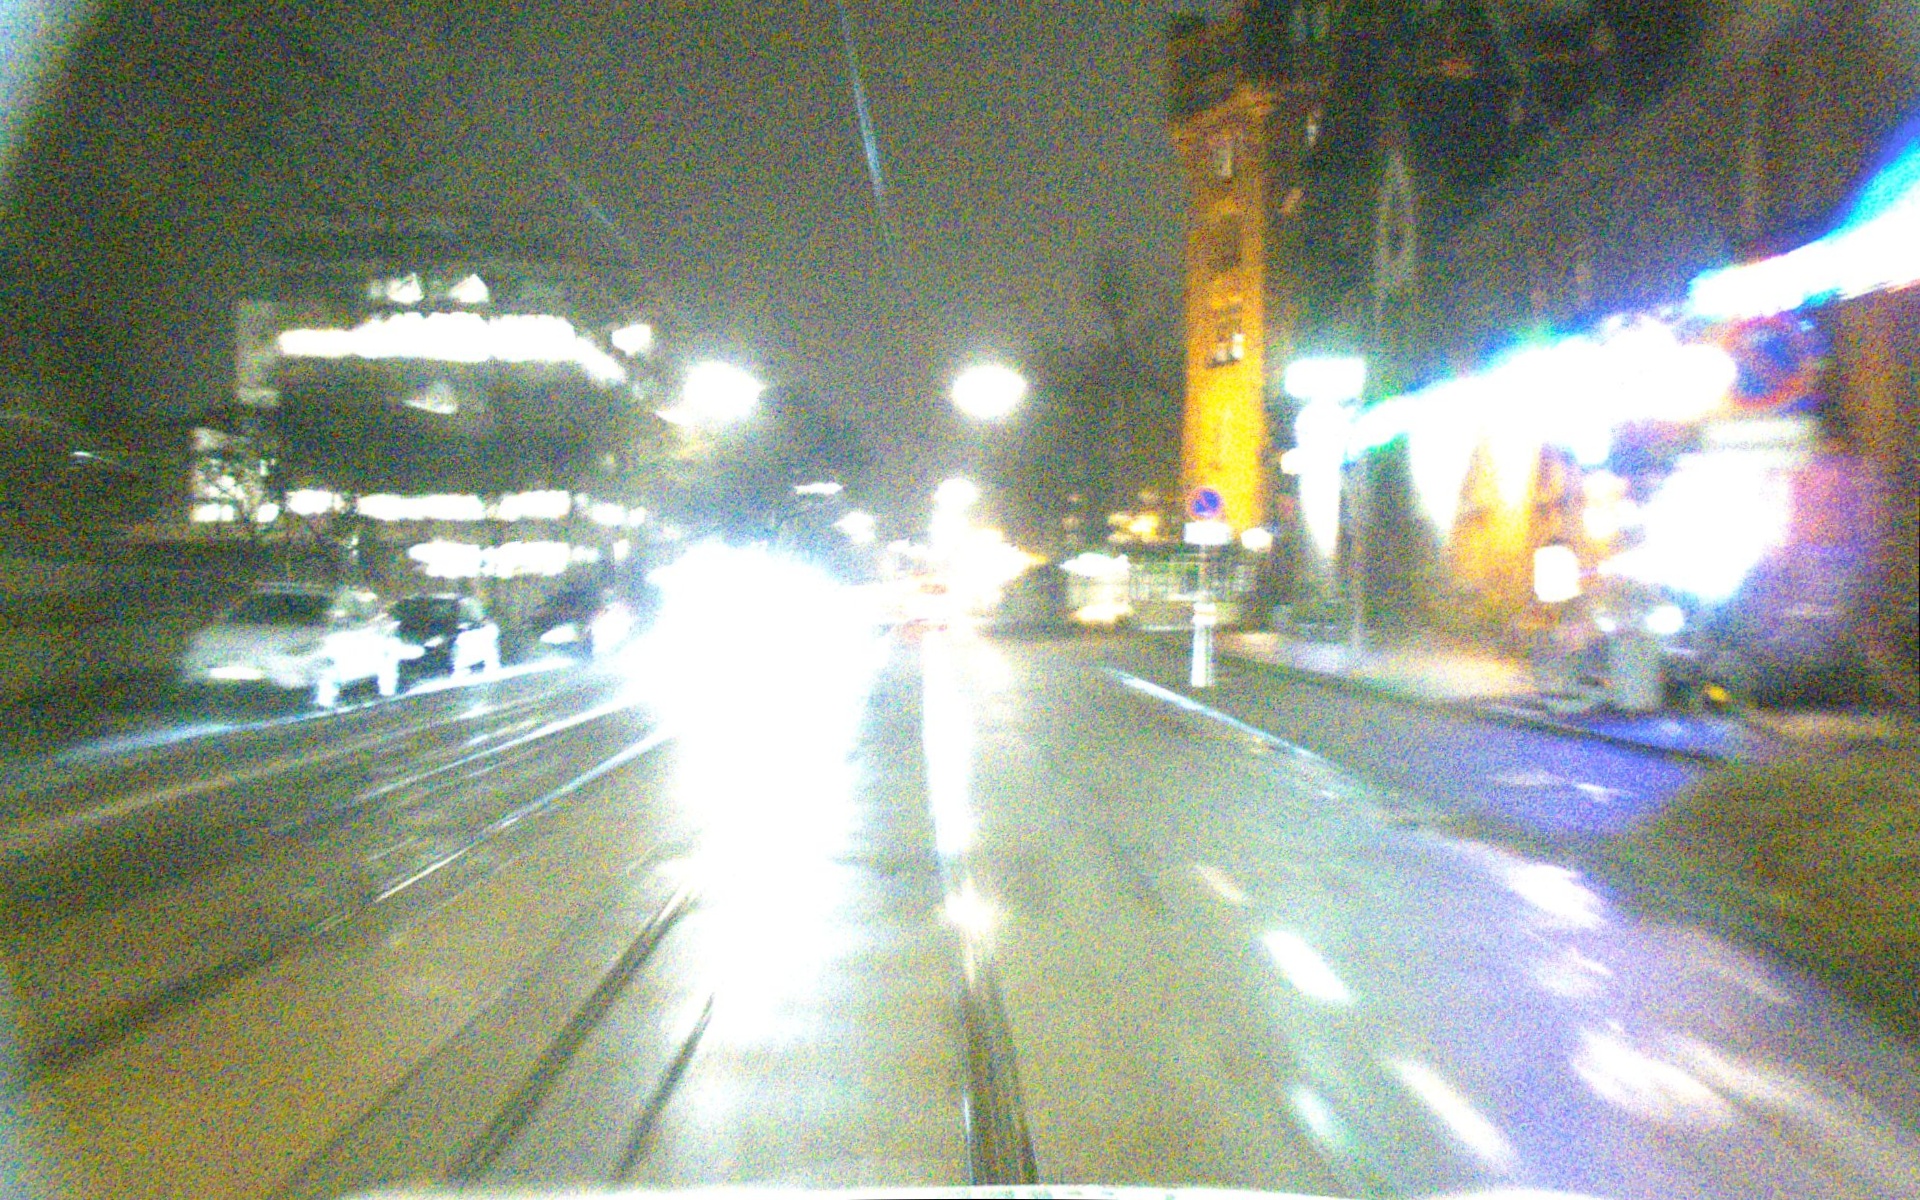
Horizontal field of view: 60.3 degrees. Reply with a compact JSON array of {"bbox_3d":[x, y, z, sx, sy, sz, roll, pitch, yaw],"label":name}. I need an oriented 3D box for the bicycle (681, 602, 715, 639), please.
[{"bbox_3d":[-8.093,0.624,51.139,0.766,1.101,1.918,-2,0,-1],"label":"bicycle"}]

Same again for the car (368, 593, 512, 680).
[{"bbox_3d":[-9.482,0.620,30.452,1.657,1.446,3.911,-1,1,-4],"label":"car"}]

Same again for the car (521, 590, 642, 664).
[{"bbox_3d":[-9.458,0.652,41.740,1.929,1.684,4.601,2,0,0],"label":"car"}]

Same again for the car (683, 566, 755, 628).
[{"bbox_3d":[-10.587,-0.169,73.217,2.140,2.637,6.392,0,1,1],"label":"car"}]

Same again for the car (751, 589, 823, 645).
[{"bbox_3d":[-5.027,0.465,48.420,1.740,1.544,4.050,0,1,-1],"label":"car"}]

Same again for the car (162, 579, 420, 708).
[{"bbox_3d":[-9.405,0.568,23.693,1.943,1.660,4.515,0,0,-2],"label":"car"}]

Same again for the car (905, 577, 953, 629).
[{"bbox_3d":[-1.501,0.155,78.737,2.199,2.402,4.391,0,0,-3],"label":"car"}]

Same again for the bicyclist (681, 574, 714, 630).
[{"bbox_3d":[-8.112,0.056,51.145,0.767,1.684,1.206,-2,0,-1],"label":"bicyclist"}]
